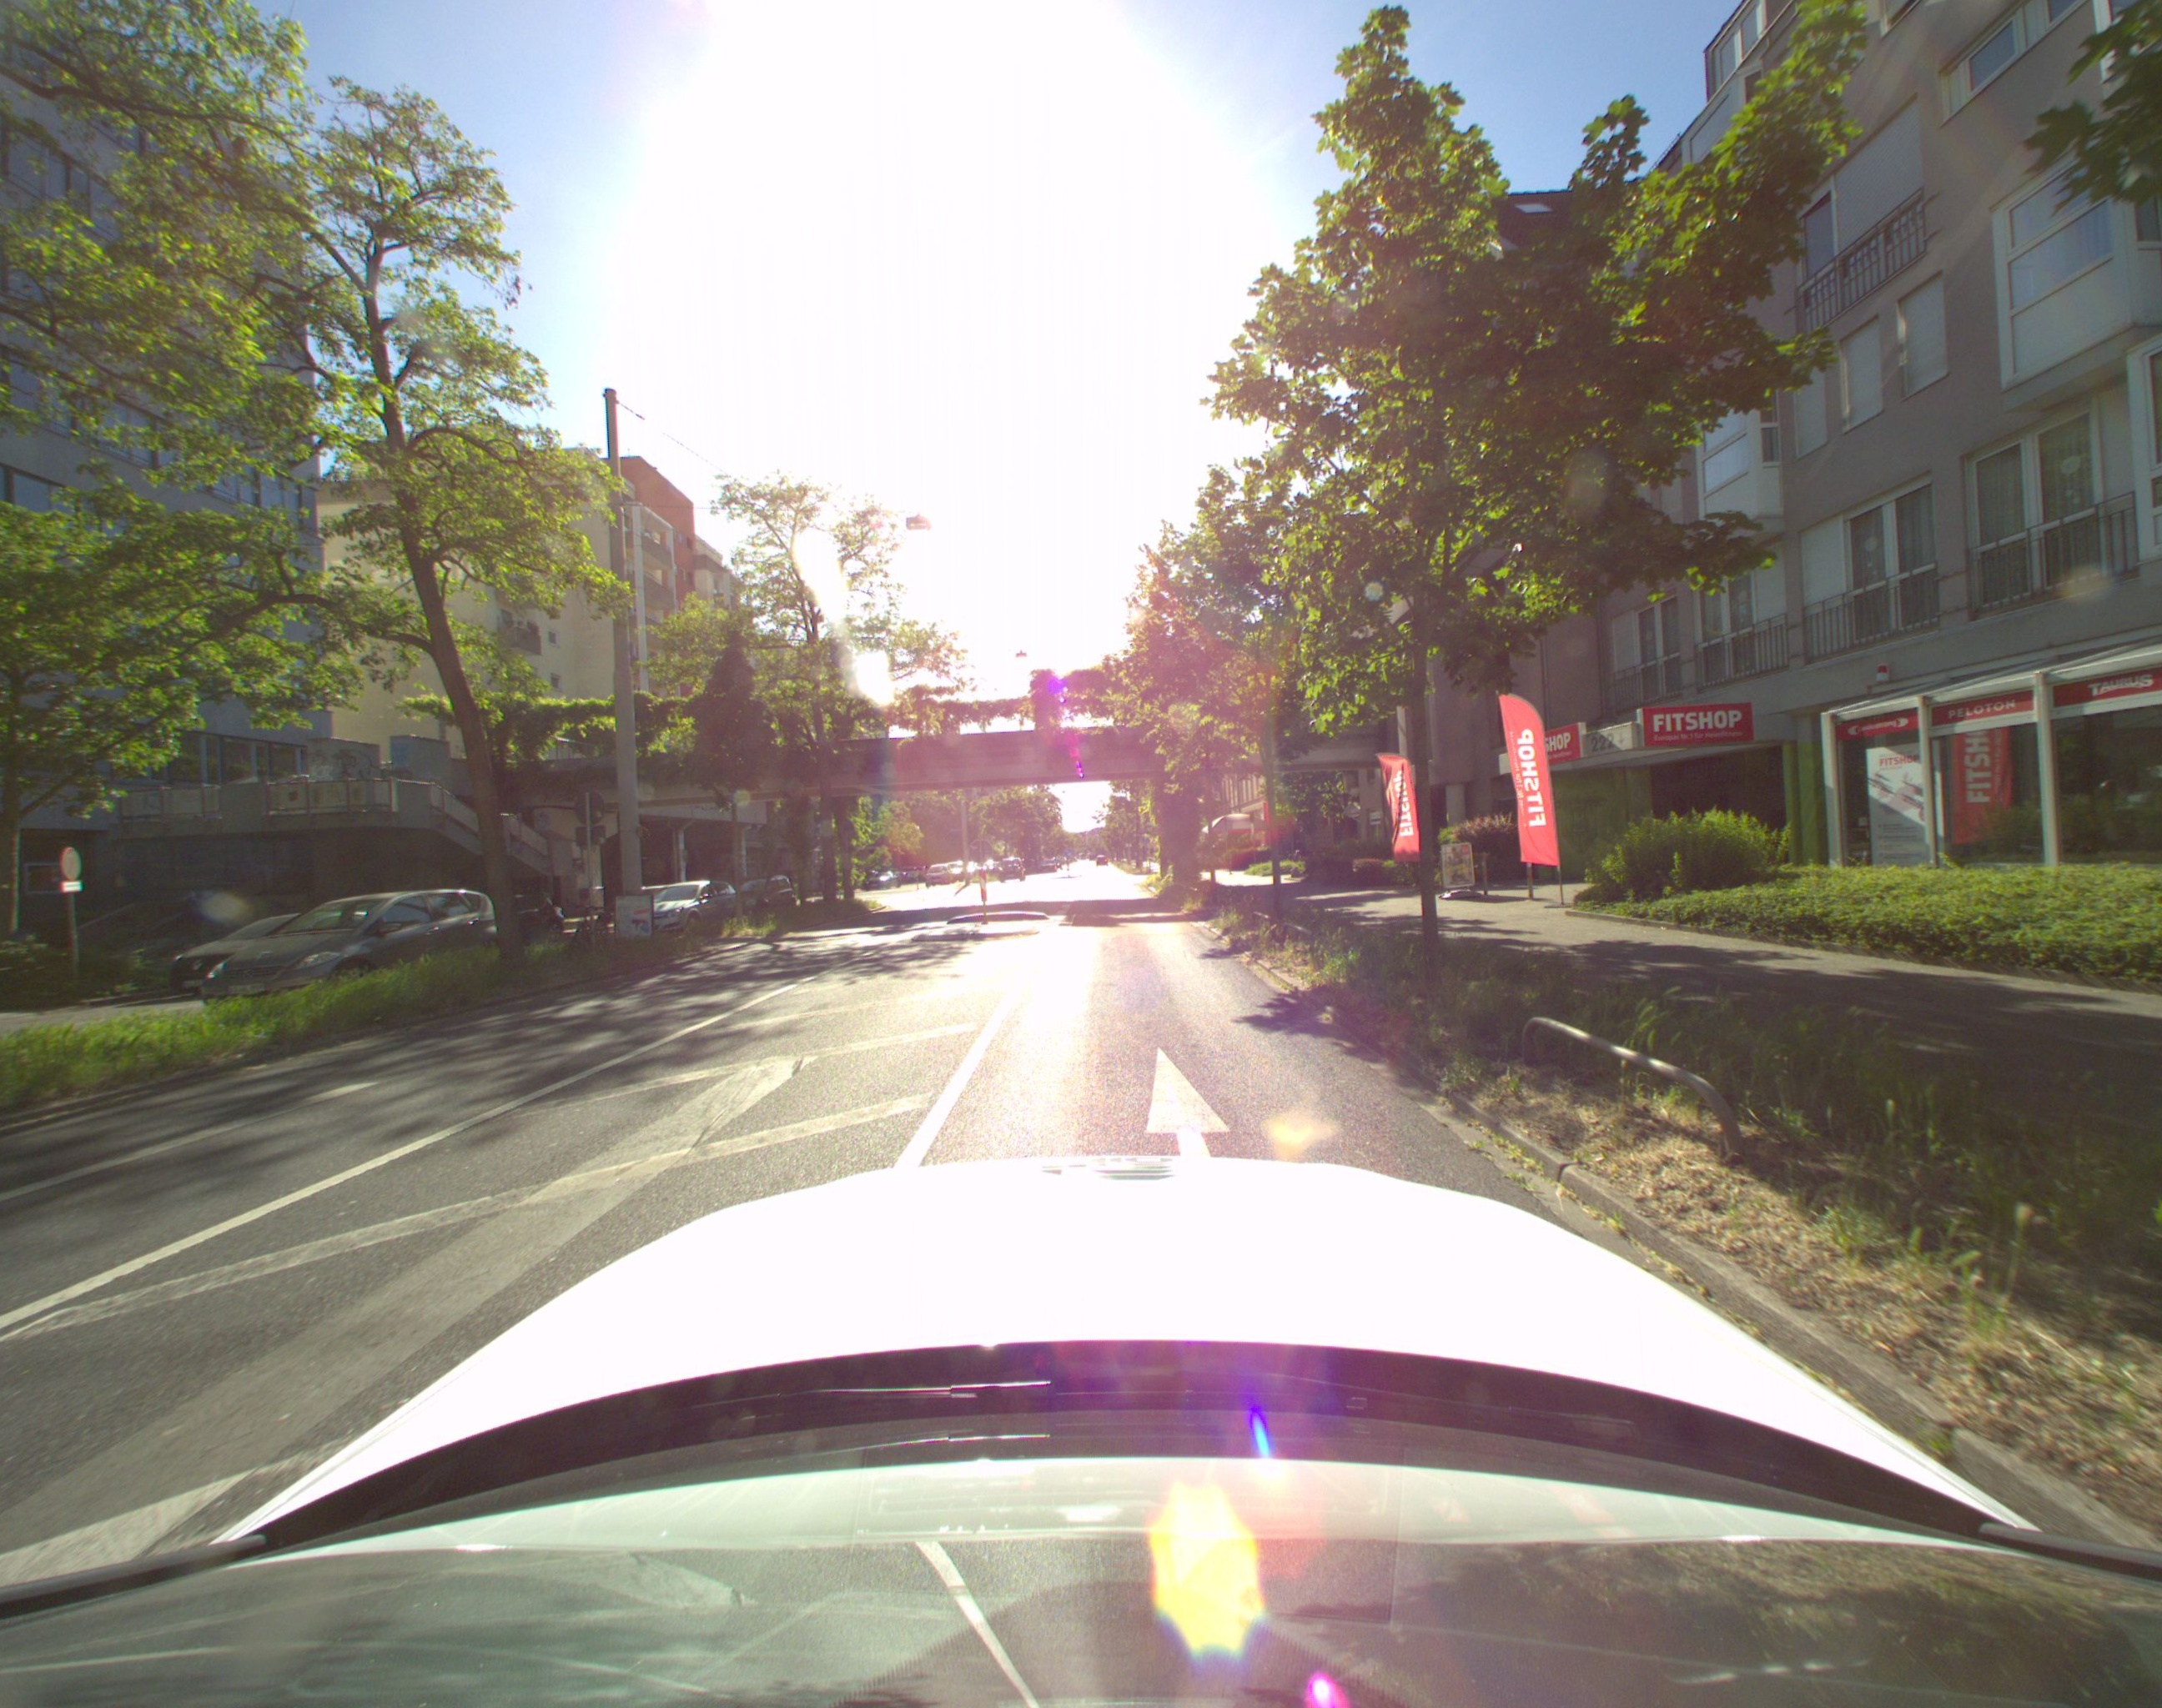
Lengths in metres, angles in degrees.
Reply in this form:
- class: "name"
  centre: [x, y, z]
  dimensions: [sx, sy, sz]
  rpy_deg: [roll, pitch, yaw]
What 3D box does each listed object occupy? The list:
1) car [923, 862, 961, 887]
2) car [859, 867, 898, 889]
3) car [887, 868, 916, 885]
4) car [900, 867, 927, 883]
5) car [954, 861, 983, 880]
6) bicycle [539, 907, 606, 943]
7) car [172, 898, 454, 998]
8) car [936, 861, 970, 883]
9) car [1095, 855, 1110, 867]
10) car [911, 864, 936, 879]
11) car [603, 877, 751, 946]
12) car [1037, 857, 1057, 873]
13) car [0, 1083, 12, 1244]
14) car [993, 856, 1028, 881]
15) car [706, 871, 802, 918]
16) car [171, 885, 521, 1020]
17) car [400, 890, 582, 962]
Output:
- class: "car"
  centre: [-9.534, 1.369, 56.253]
  dimensions: [1.850, 1.523, 4.077]
  rpy_deg: [-2, 0, 0]
- class: "car"
  centre: [-15.884, 1.885, 64.068]
  dimensions: [1.850, 1.523, 4.318]
  rpy_deg: [-2, 0, 0]
- class: "car"
  centre: [-17.711, 2.167, 80.429]
  dimensions: [1.850, 1.523, 4.318]
  rpy_deg: [-2, 0, 0]
- class: "car"
  centre: [-17.537, 2.165, 85.431]
  dimensions: [1.850, 1.523, 4.318]
  rpy_deg: [-2, 0, 0]
- class: "car"
  centre: [-9.733, 1.429, 70.579]
  dimensions: [1.850, 1.523, 4.318]
  rpy_deg: [-2, 0, 0]
- class: "bicycle"
  centre: [-18.104, 2.509, 29.068]
  dimensions: [0.710, 1.021, 2.607]
  rpy_deg: [-2, 0, 0]
- class: "car"
  centre: [-16.102, 1.883, 17.462]
  dimensions: [1.850, 1.523, 4.318]
  rpy_deg: [-3, 0, 0]
- class: "car"
  centre: [-9.814, 1.324, 62.634]
  dimensions: [1.850, 1.523, 4.318]
  rpy_deg: [-2, 0, 0]
- class: "car"
  centre: [3.048, 0.994, 114.211]
  dimensions: [1.848, 1.523, 4.321]
  rpy_deg: [-2, 0, 3]
- class: "car"
  centre: [-17.534, 1.912, 90.983]
  dimensions: [1.850, 1.523, 4.318]
  rpy_deg: [-2, 0, 0]
- class: "car"
  centre: [-10.947, 1.502, 22.448]
  dimensions: [1.850, 1.523, 4.318]
  rpy_deg: [-2, 0, 0]
- class: "car"
  centre: [-3.545, 1.088, 84.880]
  dimensions: [1.850, 1.523, 4.318]
  rpy_deg: [-2, 0, 0]
- class: "car"
  centre: [-5.698, 1.060, 1.417]
  dimensions: [1.850, 1.439, 4.318]
  rpy_deg: [-5, 0, 0]
- class: "car"
  centre: [-4.633, 0.918, 53.755]
  dimensions: [1.850, 1.523, 4.318]
  rpy_deg: [-2, 0, 0]
- class: "car"
  centre: [-10.595, 1.266, 26.658]
  dimensions: [1.627, 1.307, 3.582]
  rpy_deg: [-2, 0, 0]
- class: "car"
  centre: [-11.099, 1.384, 12.754]
  dimensions: [1.849, 1.568, 3.873]
  rpy_deg: [-2, 0, 2]
- class: "car"
  centre: [-16.303, 1.917, 22.853]
  dimensions: [1.850, 1.523, 4.318]
  rpy_deg: [-4, 0, 0]
